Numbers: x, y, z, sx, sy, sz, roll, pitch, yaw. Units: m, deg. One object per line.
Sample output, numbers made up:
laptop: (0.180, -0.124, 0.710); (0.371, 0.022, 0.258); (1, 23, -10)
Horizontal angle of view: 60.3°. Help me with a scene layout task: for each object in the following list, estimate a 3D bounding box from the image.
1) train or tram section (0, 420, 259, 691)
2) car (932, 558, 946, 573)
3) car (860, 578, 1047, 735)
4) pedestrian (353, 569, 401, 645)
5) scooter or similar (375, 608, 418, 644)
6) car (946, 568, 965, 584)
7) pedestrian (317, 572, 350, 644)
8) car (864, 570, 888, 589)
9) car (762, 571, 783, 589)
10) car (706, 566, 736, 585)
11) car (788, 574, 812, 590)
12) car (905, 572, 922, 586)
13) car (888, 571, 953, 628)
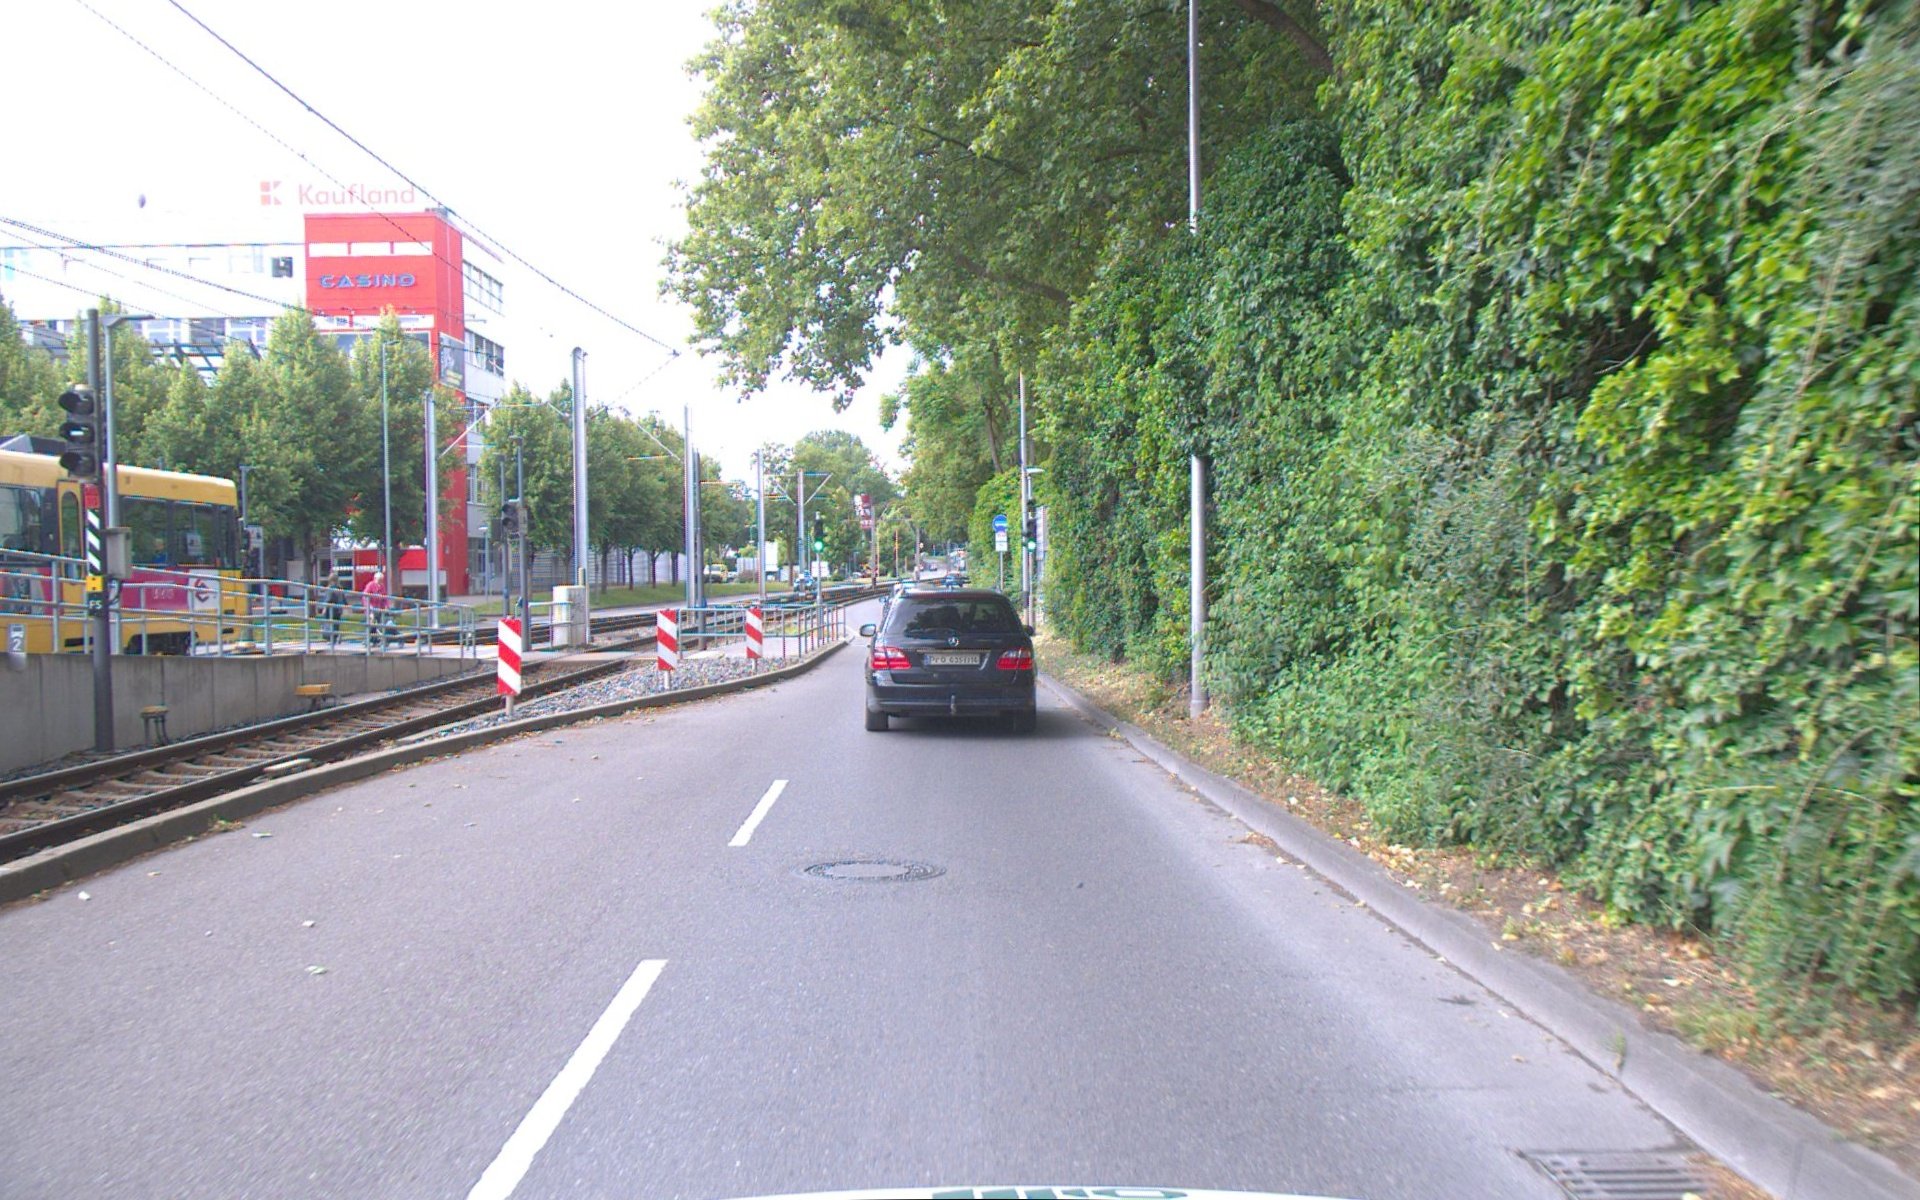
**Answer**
train or tram section: (-15.161, -0.609, 22.805); (2.699, 3.895, 18.635); (-1, 1, 1)
car: (-2.898, -4.771, 228.606); (1.853, 2.048, 3.897); (-2, 1, -1)
car: (-0.067, 0.524, 18.126); (1.796, 1.504, 4.416); (0, 1, 0)
pedestrian: (-13.269, 0.160, 37.675); (0.600, 1.682, 0.796); (-2, 1, 20)
scooter or similar: (-12.753, 0.582, 37.448); (0.485, 0.781, 0.799); (-2, 1, 20)
car: (-0.421, -2.443, 167.989); (1.787, 1.556, 4.416); (-1, 1, 1)
pedestrian: (-15.114, 0.187, 39.897); (0.505, 1.691, 0.466); (-2, 0, 10)
car: (-7.087, -1.776, 139.577); (1.787, 1.556, 3.928); (0, 1, 1)
car: (-21.987, -2.345, 193.757); (1.953, 2.048, 3.999); (-2, 1, -1)
car: (-23.577, -2.422, 163.315); (1.952, 1.773, 4.990); (-2, 1, 3)
car: (-15.142, -1.718, 156.322); (1.625, 1.417, 3.721); (0, 1, 4)
car: (-5.155, -2.355, 183.709); (1.787, 1.556, 3.987); (0, 1, 1)
car: (-1.140, -0.051, 48.179); (1.788, 1.556, 4.415); (-1, 1, -1)
